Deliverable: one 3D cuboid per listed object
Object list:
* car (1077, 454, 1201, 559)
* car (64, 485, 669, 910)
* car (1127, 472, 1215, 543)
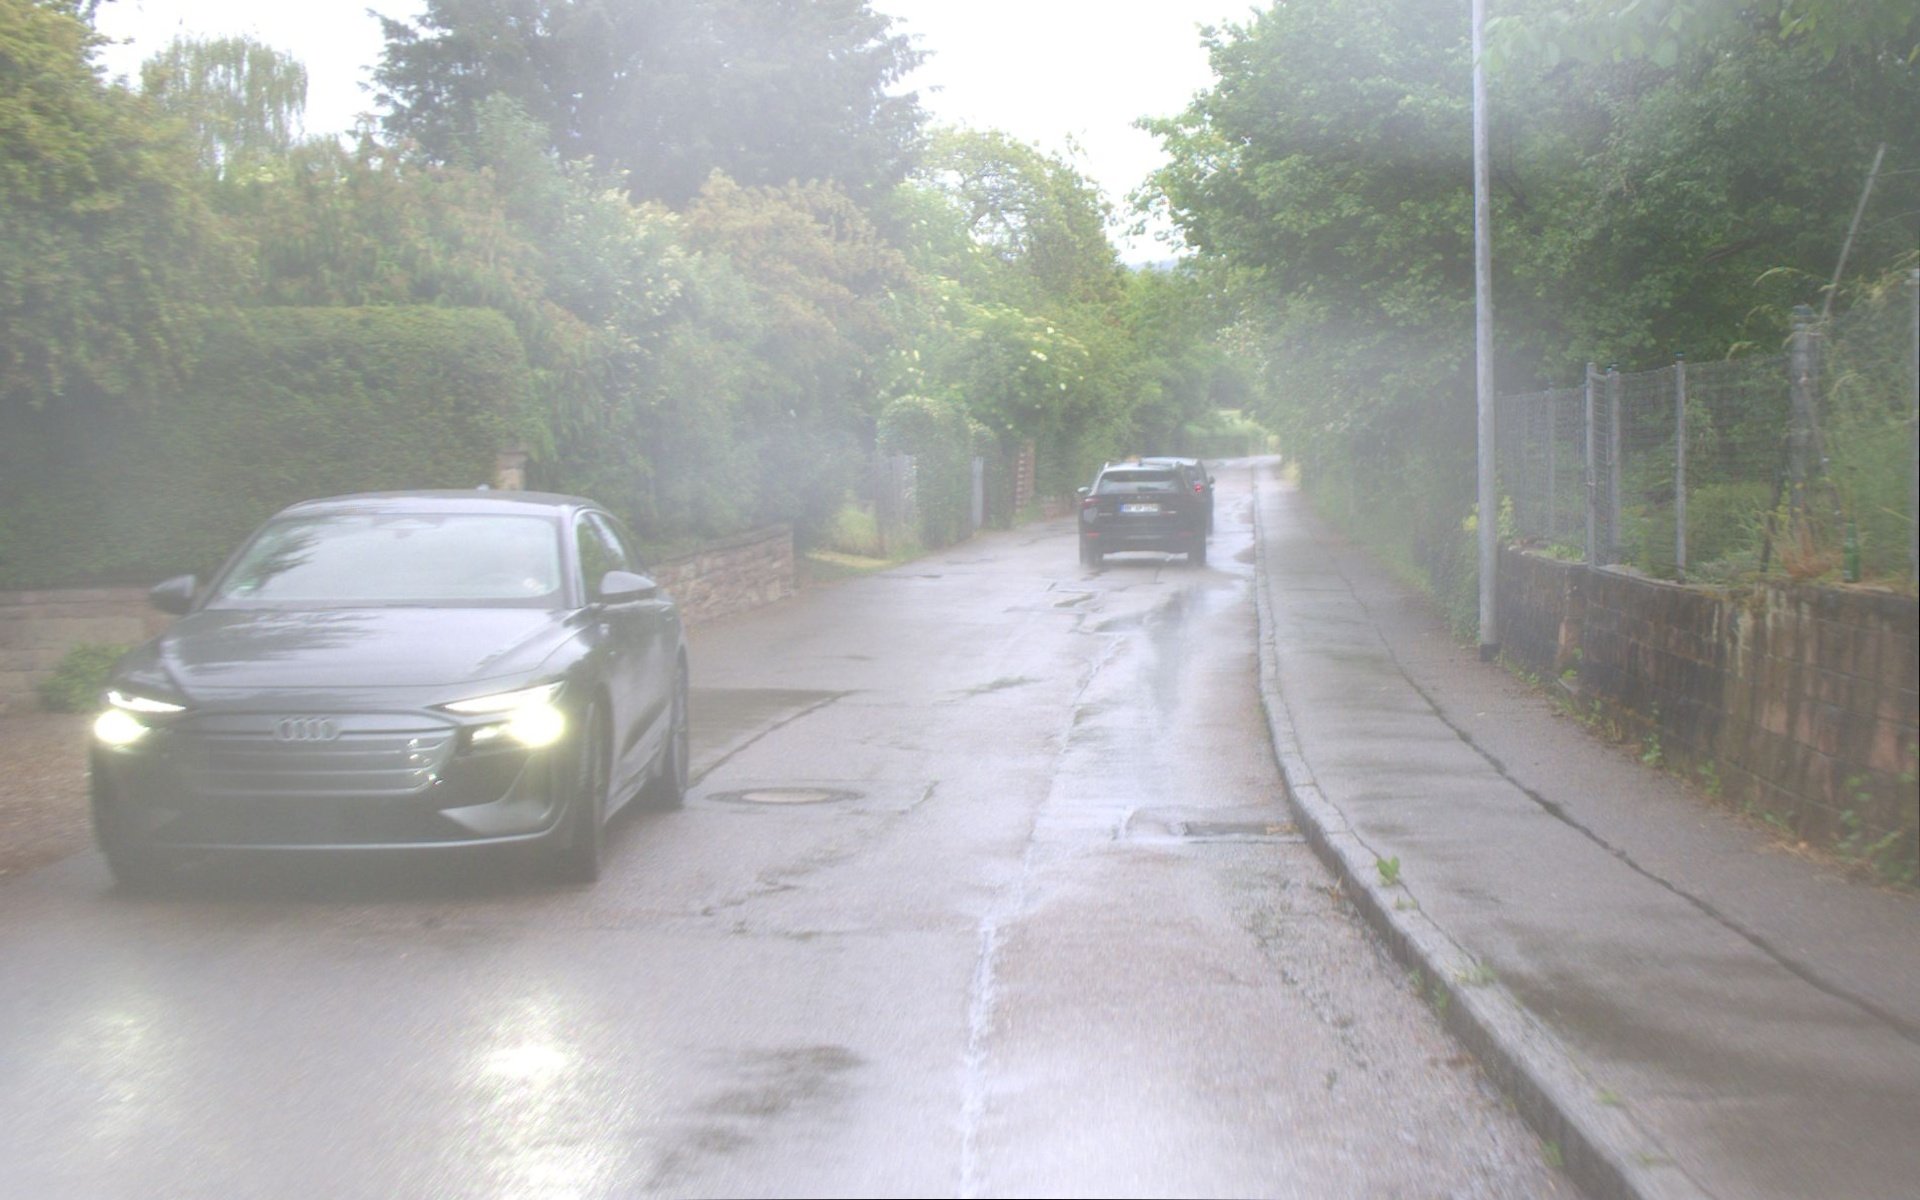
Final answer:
[{"bbox_3d":[2.592,-1.333,49.265,1.635,1.445,3.544,0,1,5],"label":"car"},{"bbox_3d":[-2.315,0.281,14.548,1.888,1.518,4.422,0,2,-1],"label":"car"},{"bbox_3d":[4.312,-1.873,69.875,1.635,1.409,3.544,0,1,6],"label":"car"}]
